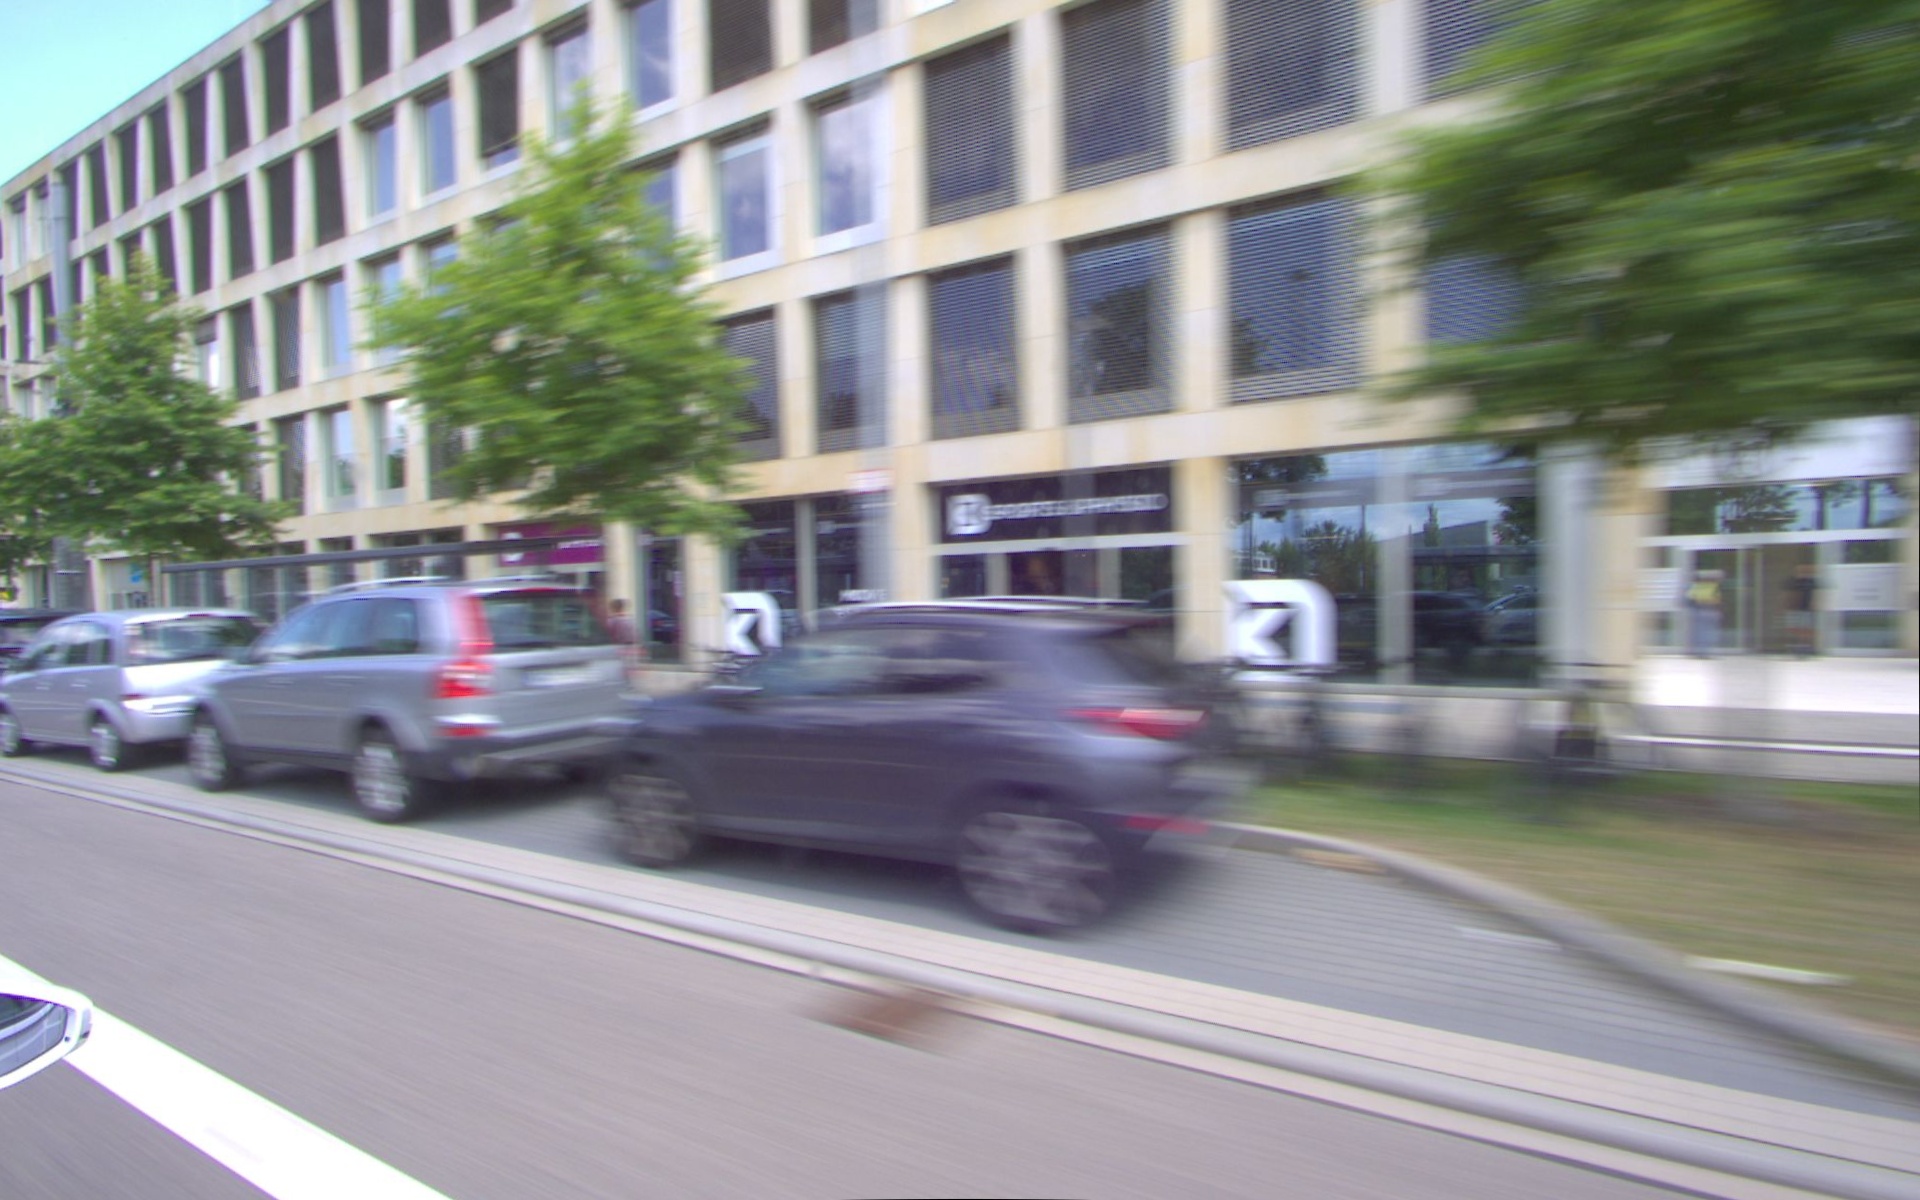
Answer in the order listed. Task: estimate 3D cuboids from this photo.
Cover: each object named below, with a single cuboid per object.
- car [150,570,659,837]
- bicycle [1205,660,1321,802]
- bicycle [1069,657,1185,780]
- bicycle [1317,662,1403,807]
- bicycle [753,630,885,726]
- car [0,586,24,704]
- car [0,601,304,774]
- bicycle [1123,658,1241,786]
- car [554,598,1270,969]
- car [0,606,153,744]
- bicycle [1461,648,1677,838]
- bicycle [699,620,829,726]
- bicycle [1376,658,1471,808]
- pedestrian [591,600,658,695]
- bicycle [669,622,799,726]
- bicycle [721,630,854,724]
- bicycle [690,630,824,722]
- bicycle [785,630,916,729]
[{"bbox_3d":[-4.961,0.699,8.717,4.770,1.791,1.765,0,1,32],"label":"car"},{"bbox_3d":[2.550,1.018,8.287,0.505,0.952,1.838,0,0,30],"label":"bicycle"},{"bbox_3d":[1.594,1.048,9.326,0.433,0.952,1.838,0,0,30],"label":"bicycle"},{"bbox_3d":[3.317,1.041,8.232,0.376,0.969,1.838,0,0,30],"label":"bicycle"},{"bbox_3d":[-1.568,0.878,11.441,0.433,1.006,1.840,0,-3,30],"label":"bicycle"},{"bbox_3d":[-18.514,0.809,17.514,4.773,1.966,1.877,0,2,32],"label":"car"},{"bbox_3d":[-9.360,0.861,11.395,3.804,1.641,1.717,0,1,32],"label":"car"},{"bbox_3d":[2.060,1.053,9.109,0.505,0.952,1.838,0,0,30],"label":"bicycle"},{"bbox_3d":[-0.402,0.782,5.950,4.009,1.525,1.687,0,1,32],"label":"car"},{"bbox_3d":[-13.542,0.967,14.303,4.462,1.663,1.717,0,2,32],"label":"car"},{"bbox_3d":[4.743,0.964,7.662,0.907,1.139,2.851,0,-1,42],"label":"bicycle"},{"bbox_3d":[-2.424,0.873,12.610,0.481,1.141,1.837,0,2,30],"label":"bicycle"},{"bbox_3d":[3.730,0.996,7.993,0.512,0.969,1.838,0,0,30],"label":"bicycle"},{"bbox_3d":[-5.777,0.800,17.249,0.892,1.572,0.636,0,2,32],"label":"pedestrian"},{"bbox_3d":[-2.866,0.905,12.898,0.473,1.141,1.837,0,2,30],"label":"bicycle"},{"bbox_3d":[-1.964,0.885,11.670,0.433,1.006,1.840,0,-3,30],"label":"bicycle"},{"bbox_3d":[-2.368,0.891,11.920,0.433,1.006,1.840,0,-3,30],"label":"bicycle"},{"bbox_3d":[-1.176,0.872,11.194,0.433,1.006,1.840,0,-3,30],"label":"bicycle"}]
